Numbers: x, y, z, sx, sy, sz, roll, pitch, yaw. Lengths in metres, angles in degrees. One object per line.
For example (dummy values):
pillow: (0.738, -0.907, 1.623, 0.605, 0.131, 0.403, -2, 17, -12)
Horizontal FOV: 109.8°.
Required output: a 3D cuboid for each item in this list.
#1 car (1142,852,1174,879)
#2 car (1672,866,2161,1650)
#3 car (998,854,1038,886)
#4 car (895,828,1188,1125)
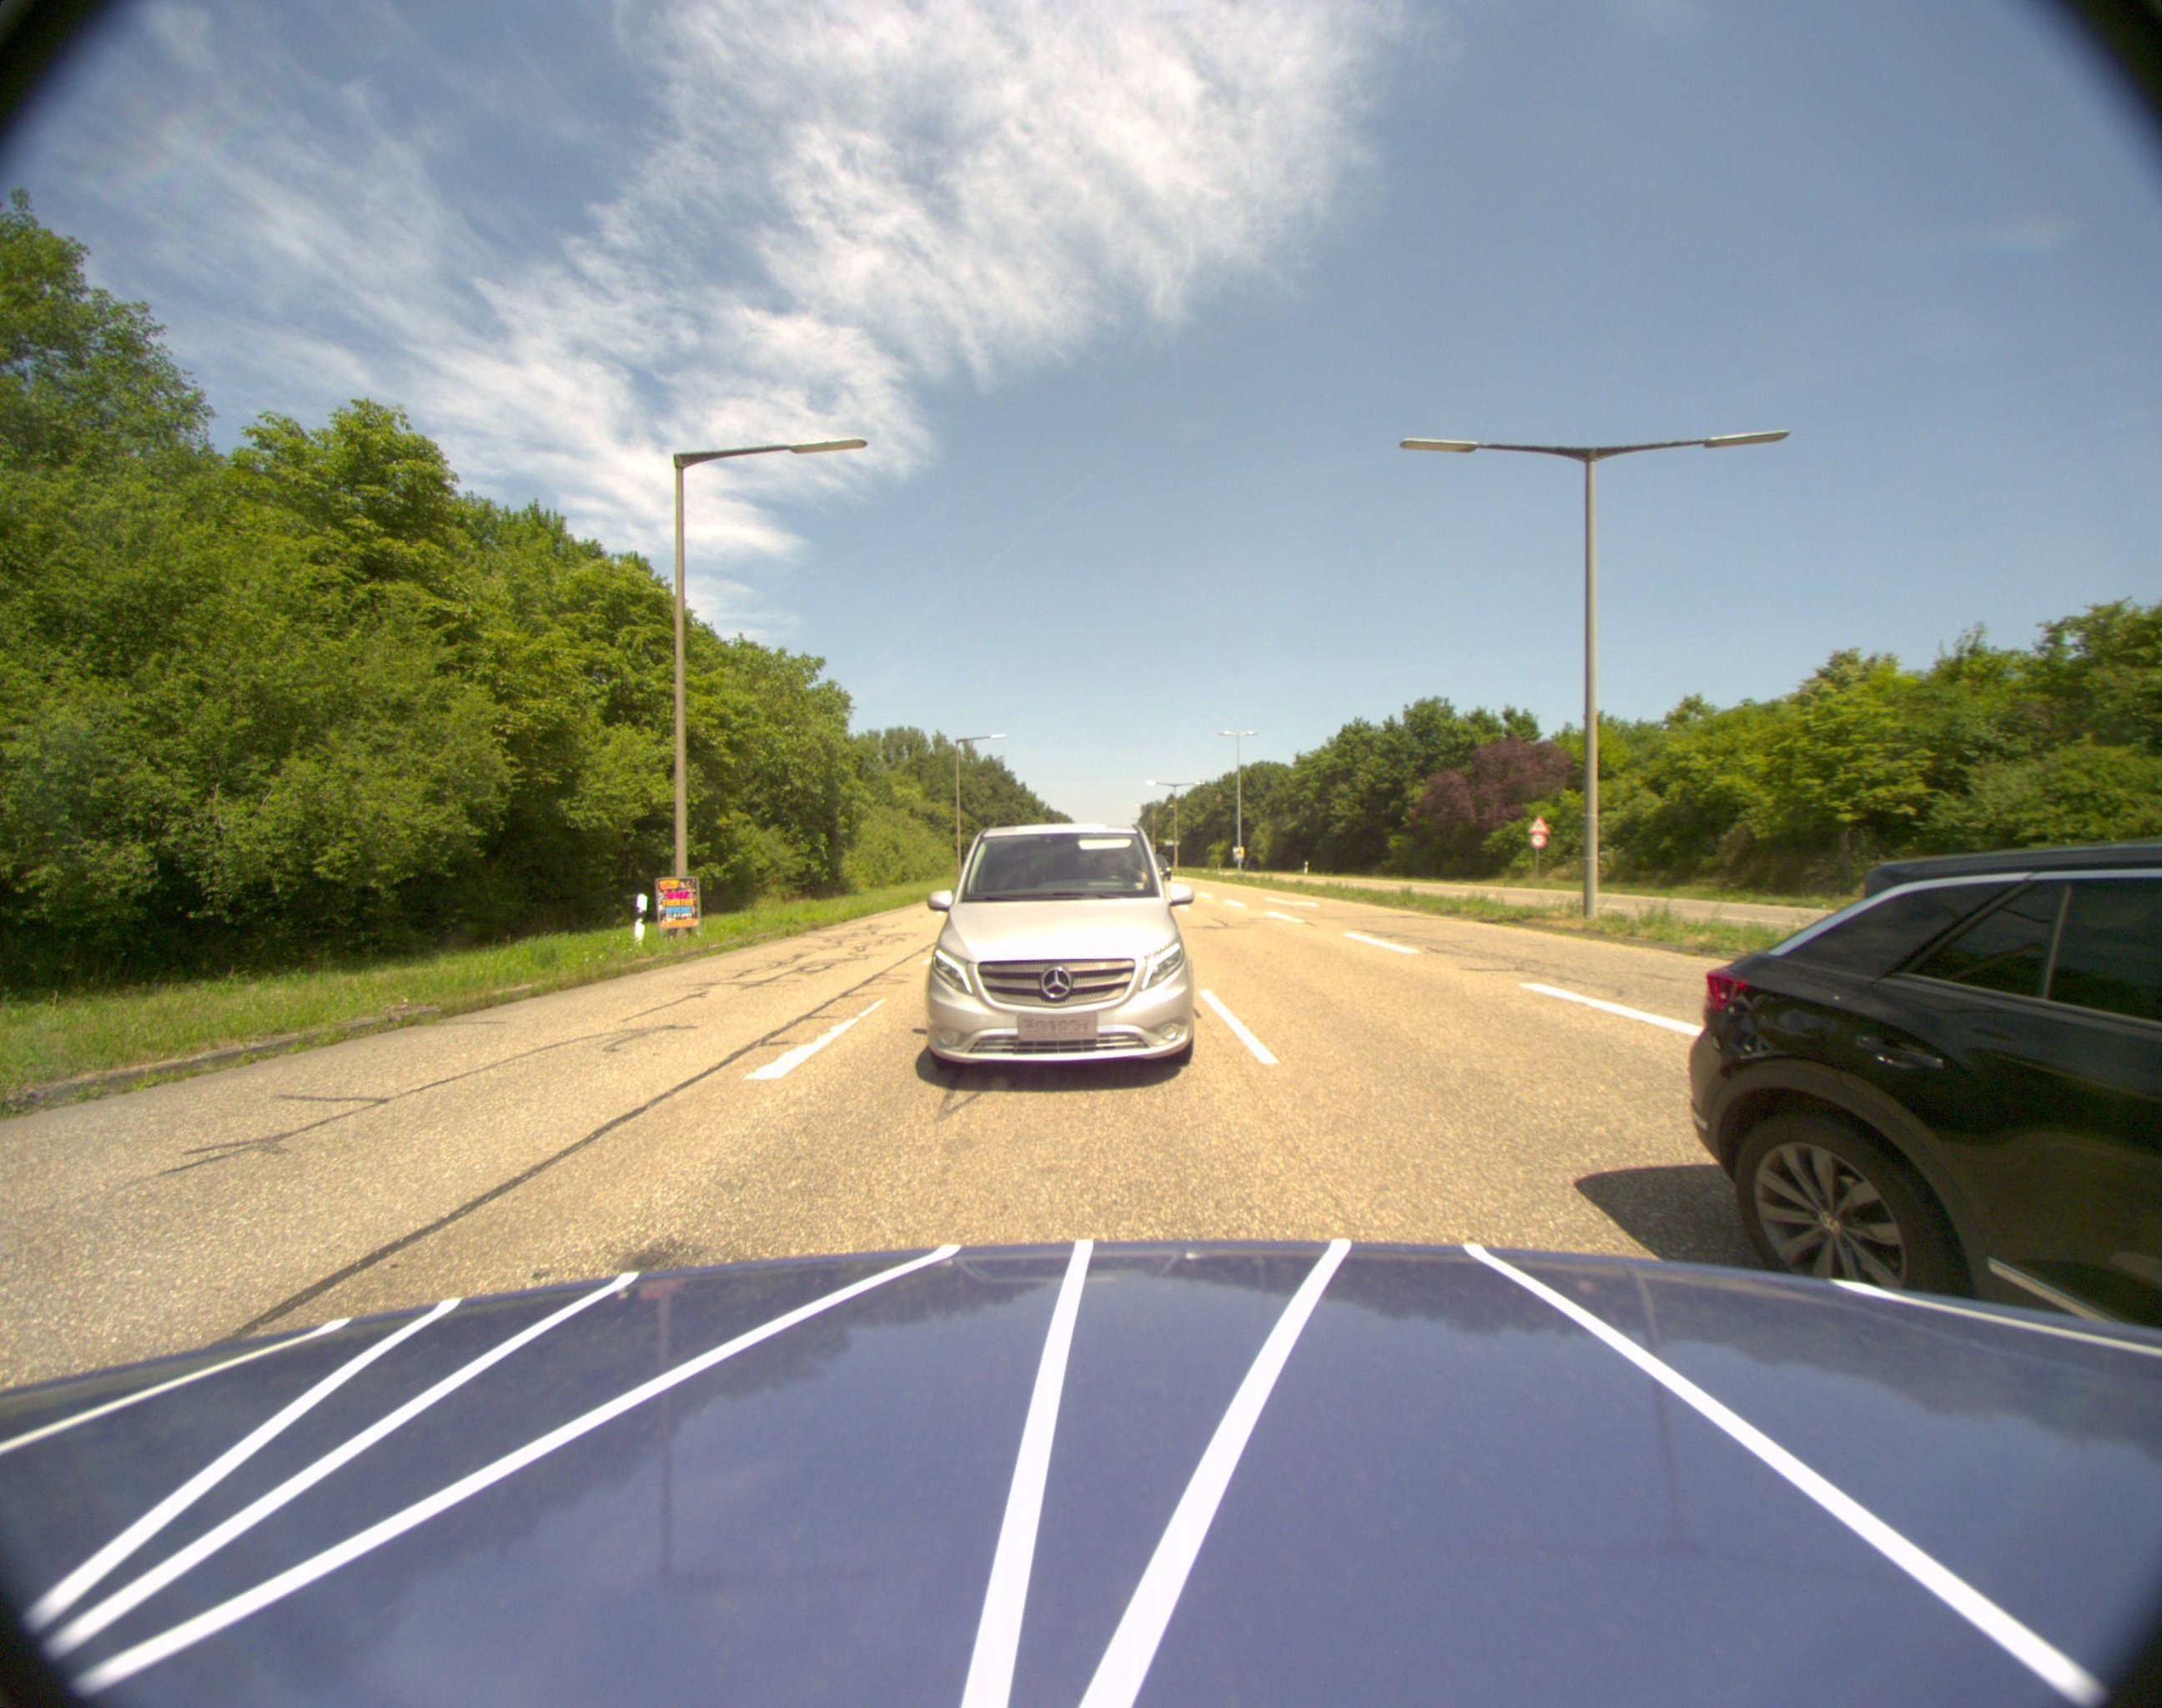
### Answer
car: (5.392, 0.811, 53.702, 1.736, 1.815, 4.321, -1, 0, -1)
car: (3.035, 0.848, 0.808, 1.739, 1.503, 3.970, -2, 1, 1)
car: (-3.787, 0.940, 46.459, 1.865, 1.807, 4.908, -2, 0, 1)
car: (-0.214, 0.764, 7.163, 1.764, 1.794, 4.855, -2, 0, 1)
